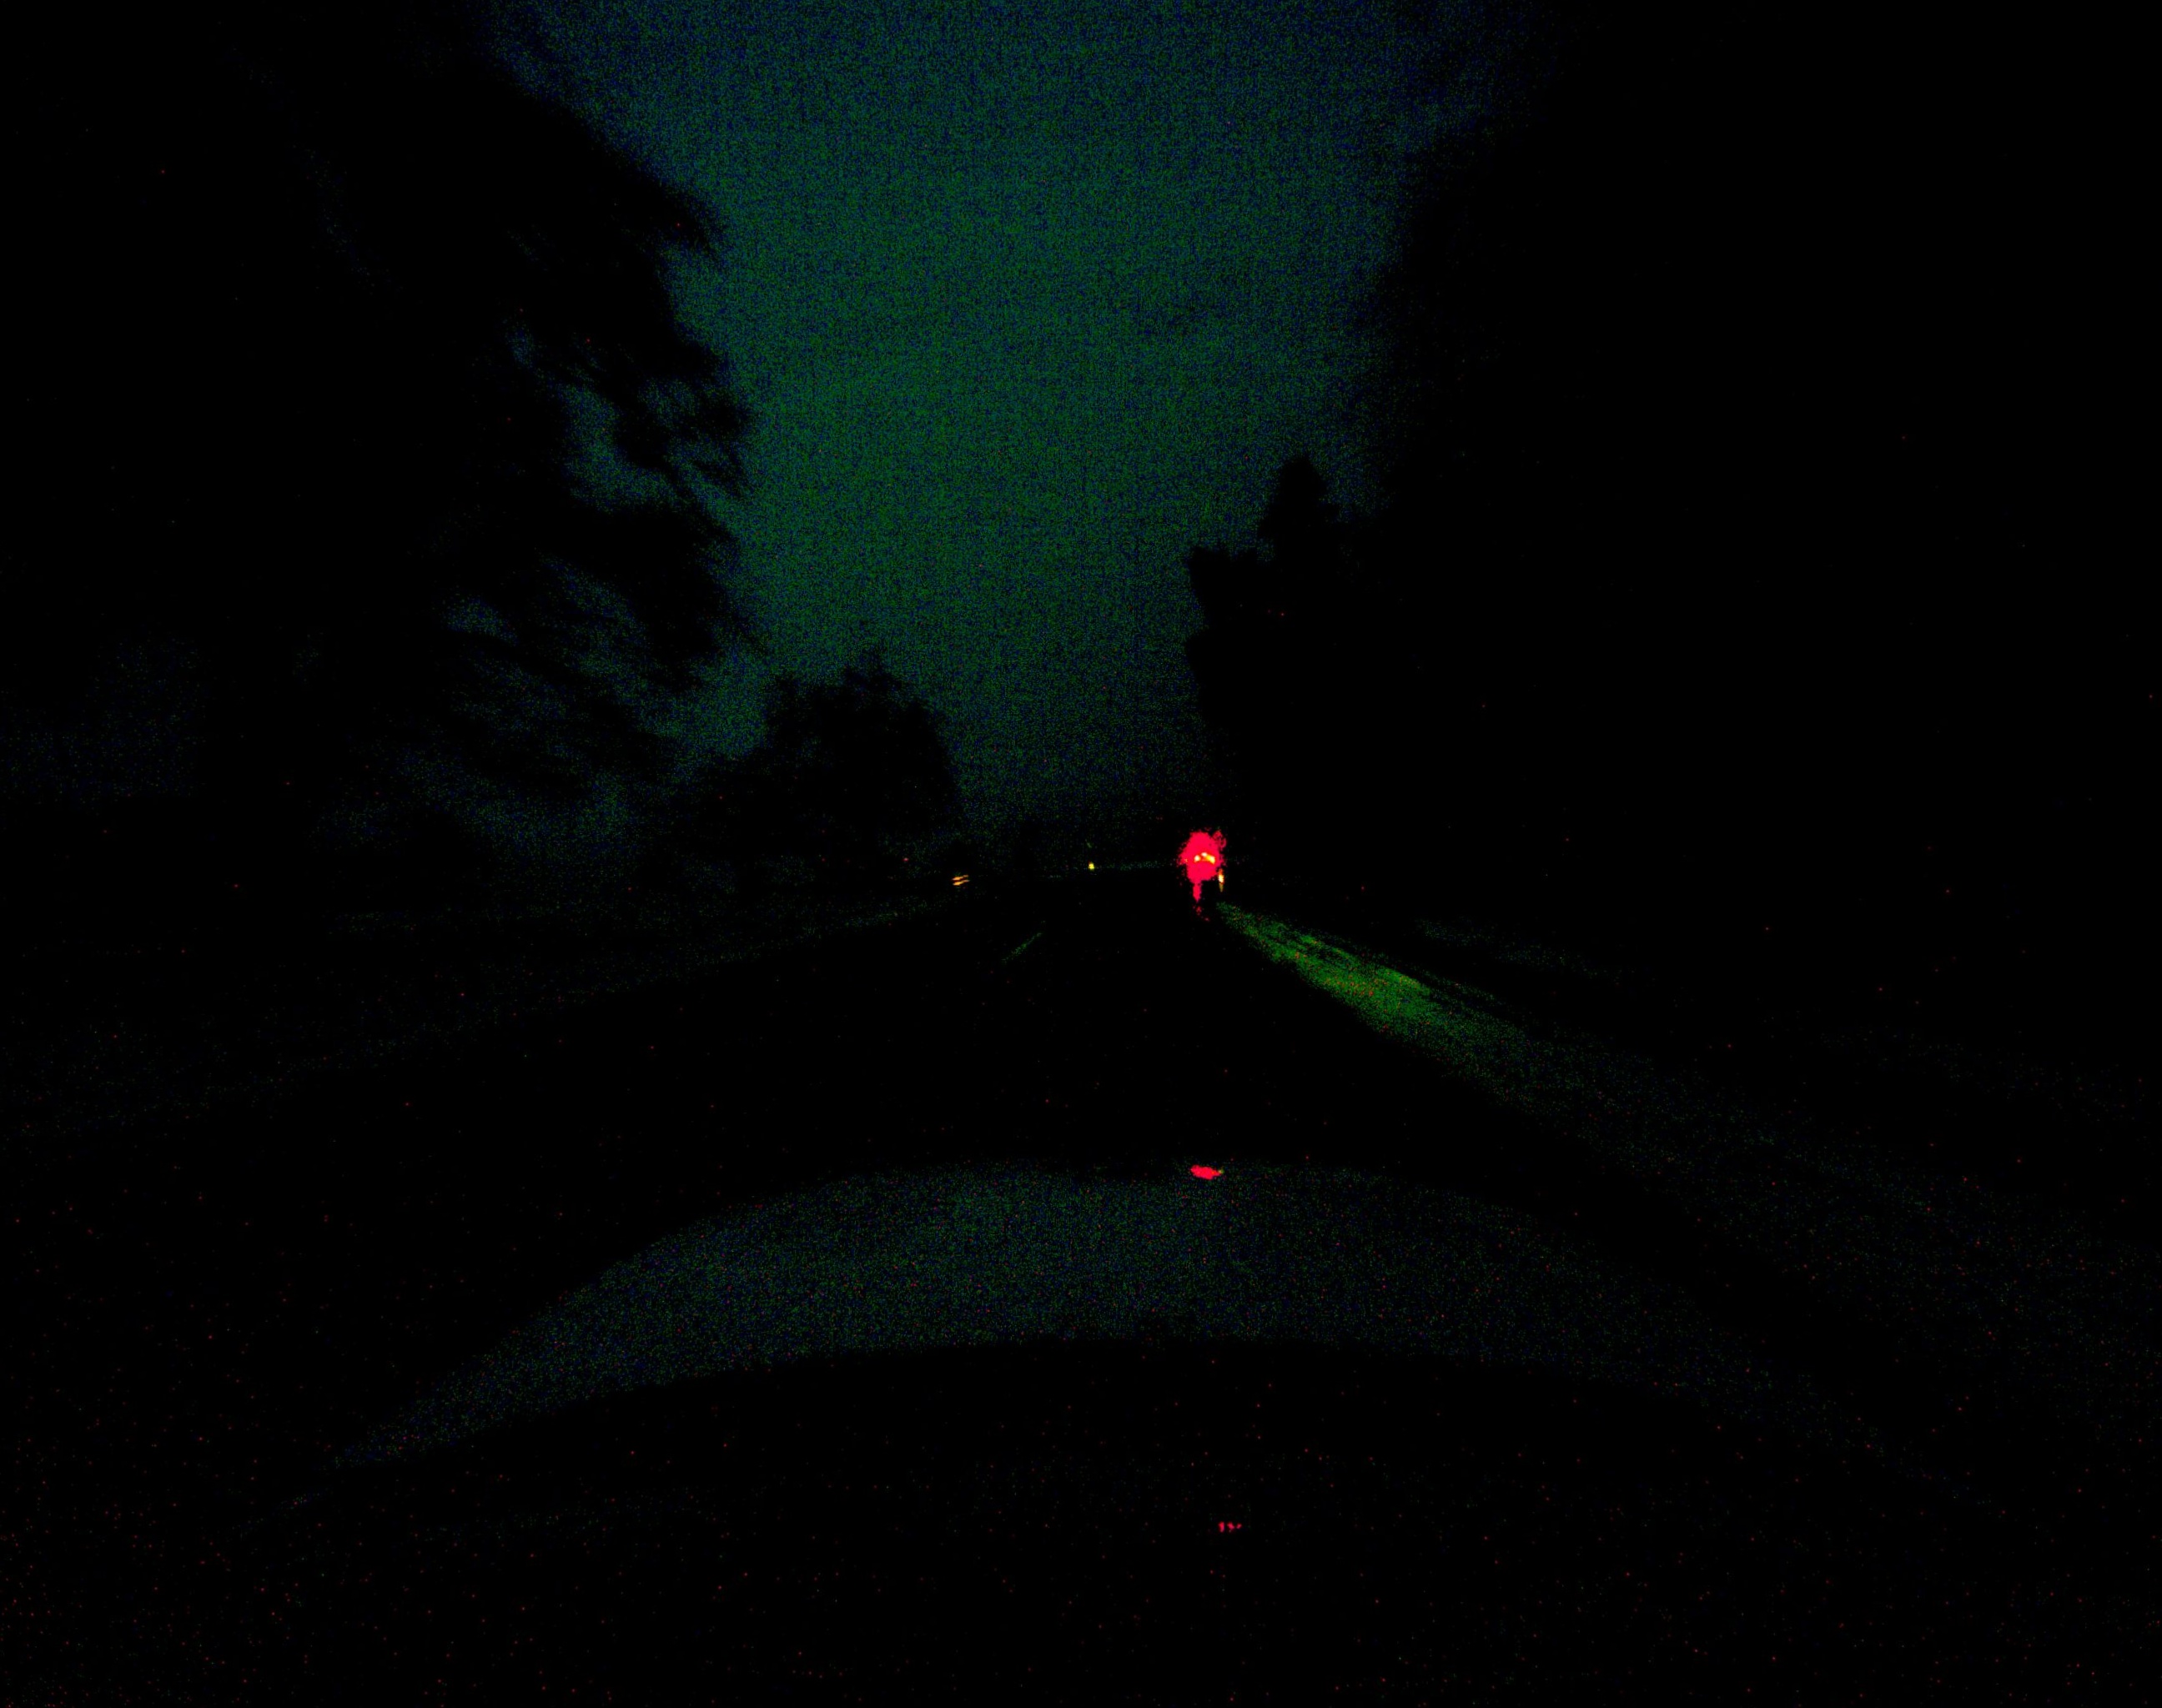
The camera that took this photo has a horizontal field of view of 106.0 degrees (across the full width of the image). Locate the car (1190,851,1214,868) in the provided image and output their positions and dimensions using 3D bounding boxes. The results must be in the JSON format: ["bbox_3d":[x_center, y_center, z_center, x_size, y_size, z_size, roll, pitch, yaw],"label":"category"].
[{"bbox_3d":[10.426,0.474,70.414,1.911,1.276,4.009,-2,1,8],"label":"car"}]
